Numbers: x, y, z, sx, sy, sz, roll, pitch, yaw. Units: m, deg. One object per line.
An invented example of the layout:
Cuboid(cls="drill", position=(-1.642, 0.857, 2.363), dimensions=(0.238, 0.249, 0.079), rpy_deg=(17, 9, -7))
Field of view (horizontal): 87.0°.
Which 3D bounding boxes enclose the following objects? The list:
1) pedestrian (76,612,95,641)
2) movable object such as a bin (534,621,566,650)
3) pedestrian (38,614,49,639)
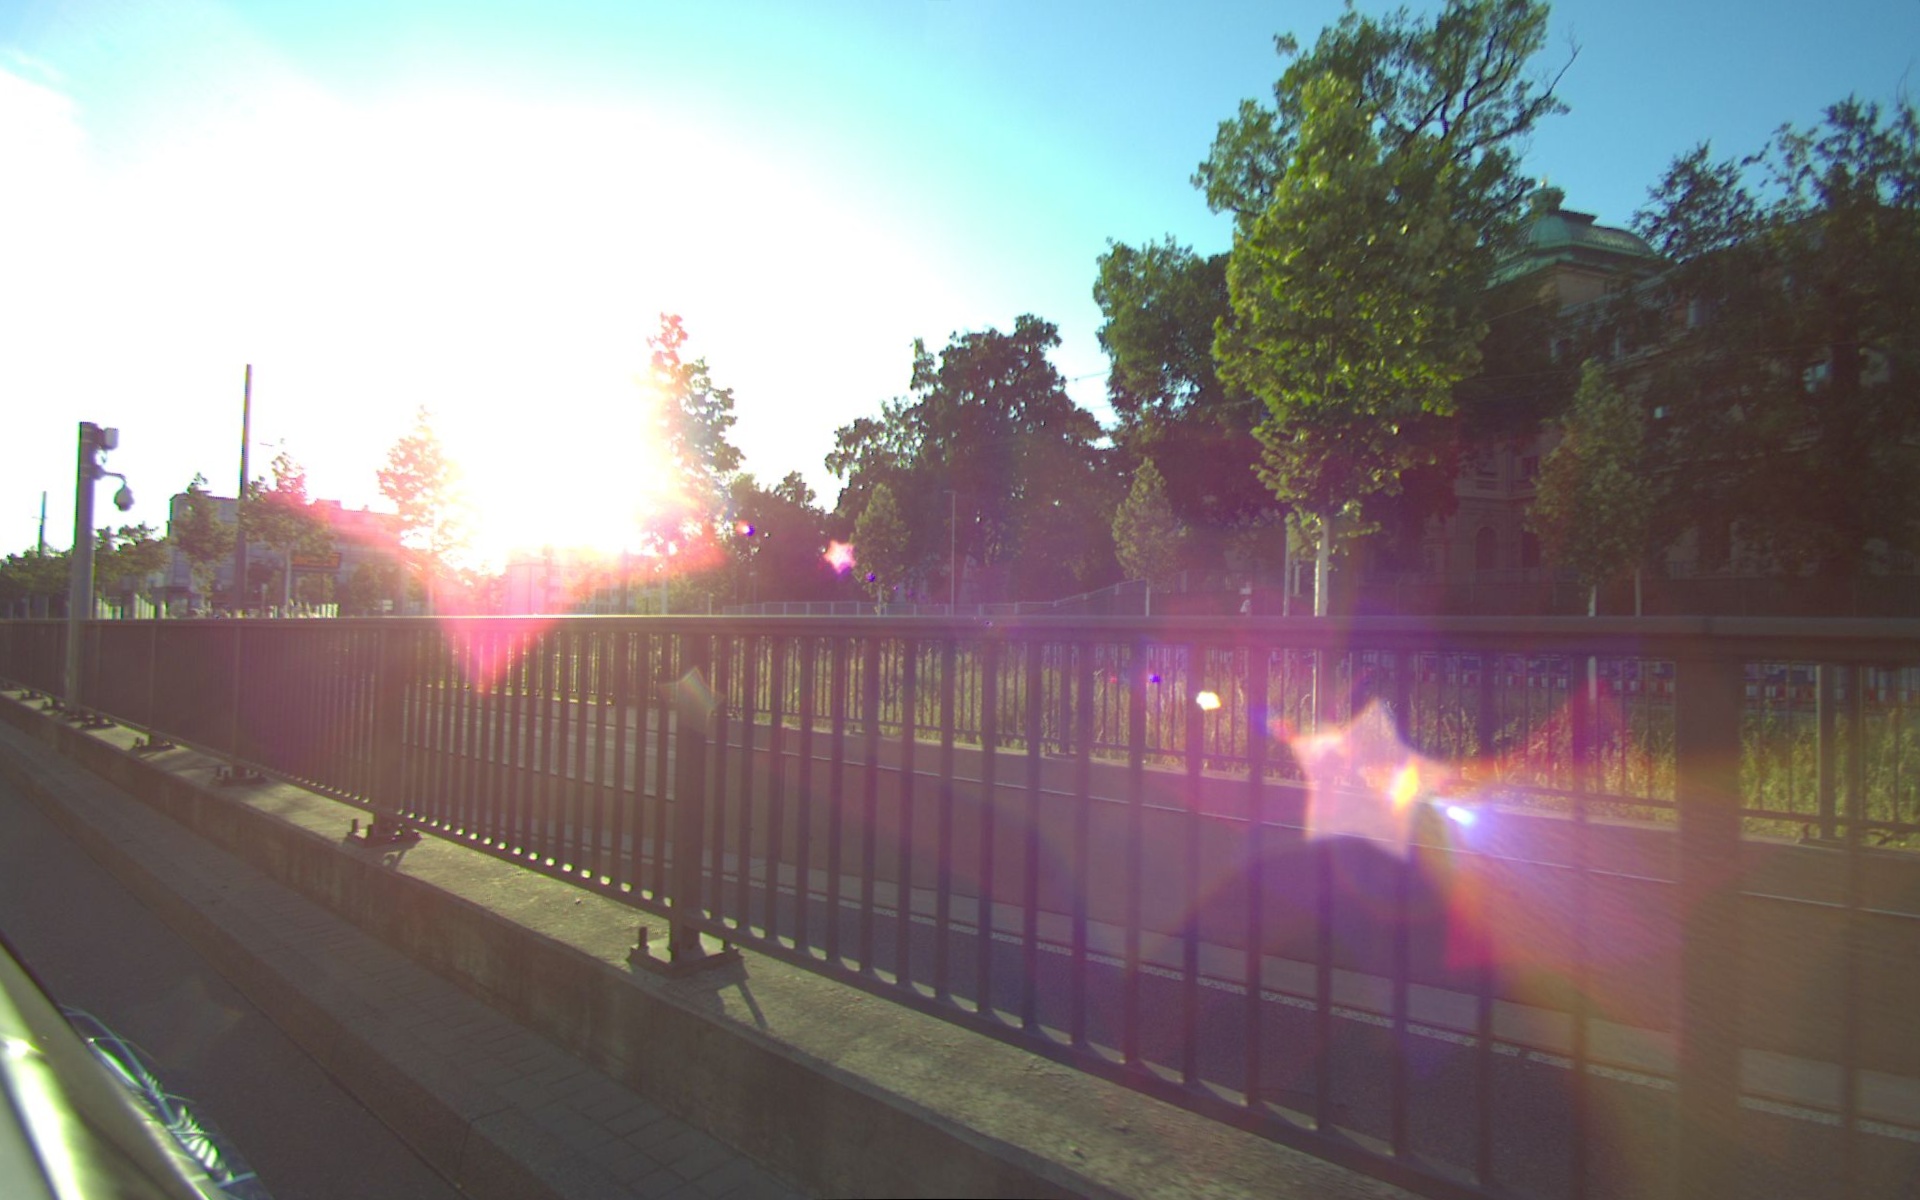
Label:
Cuboid(cls="pedestrian", position=(-53.764, 1.628, 62.215), dimensions=(0.633, 1.742, 0.630), rpy_deg=(-1, -3, 29))
Cuboid(cls="movable object such as a bin", position=(-40.130, 3.446, 99.003), dimensions=(1.967, 2.727, 4.010), rpy_deg=(2, -3, -35))
Cuboid(cls="pedestrian", position=(-65.572, 1.886, 72.403), dimensions=(0.465, 1.800, 0.627), rpy_deg=(3, -3, -41))
